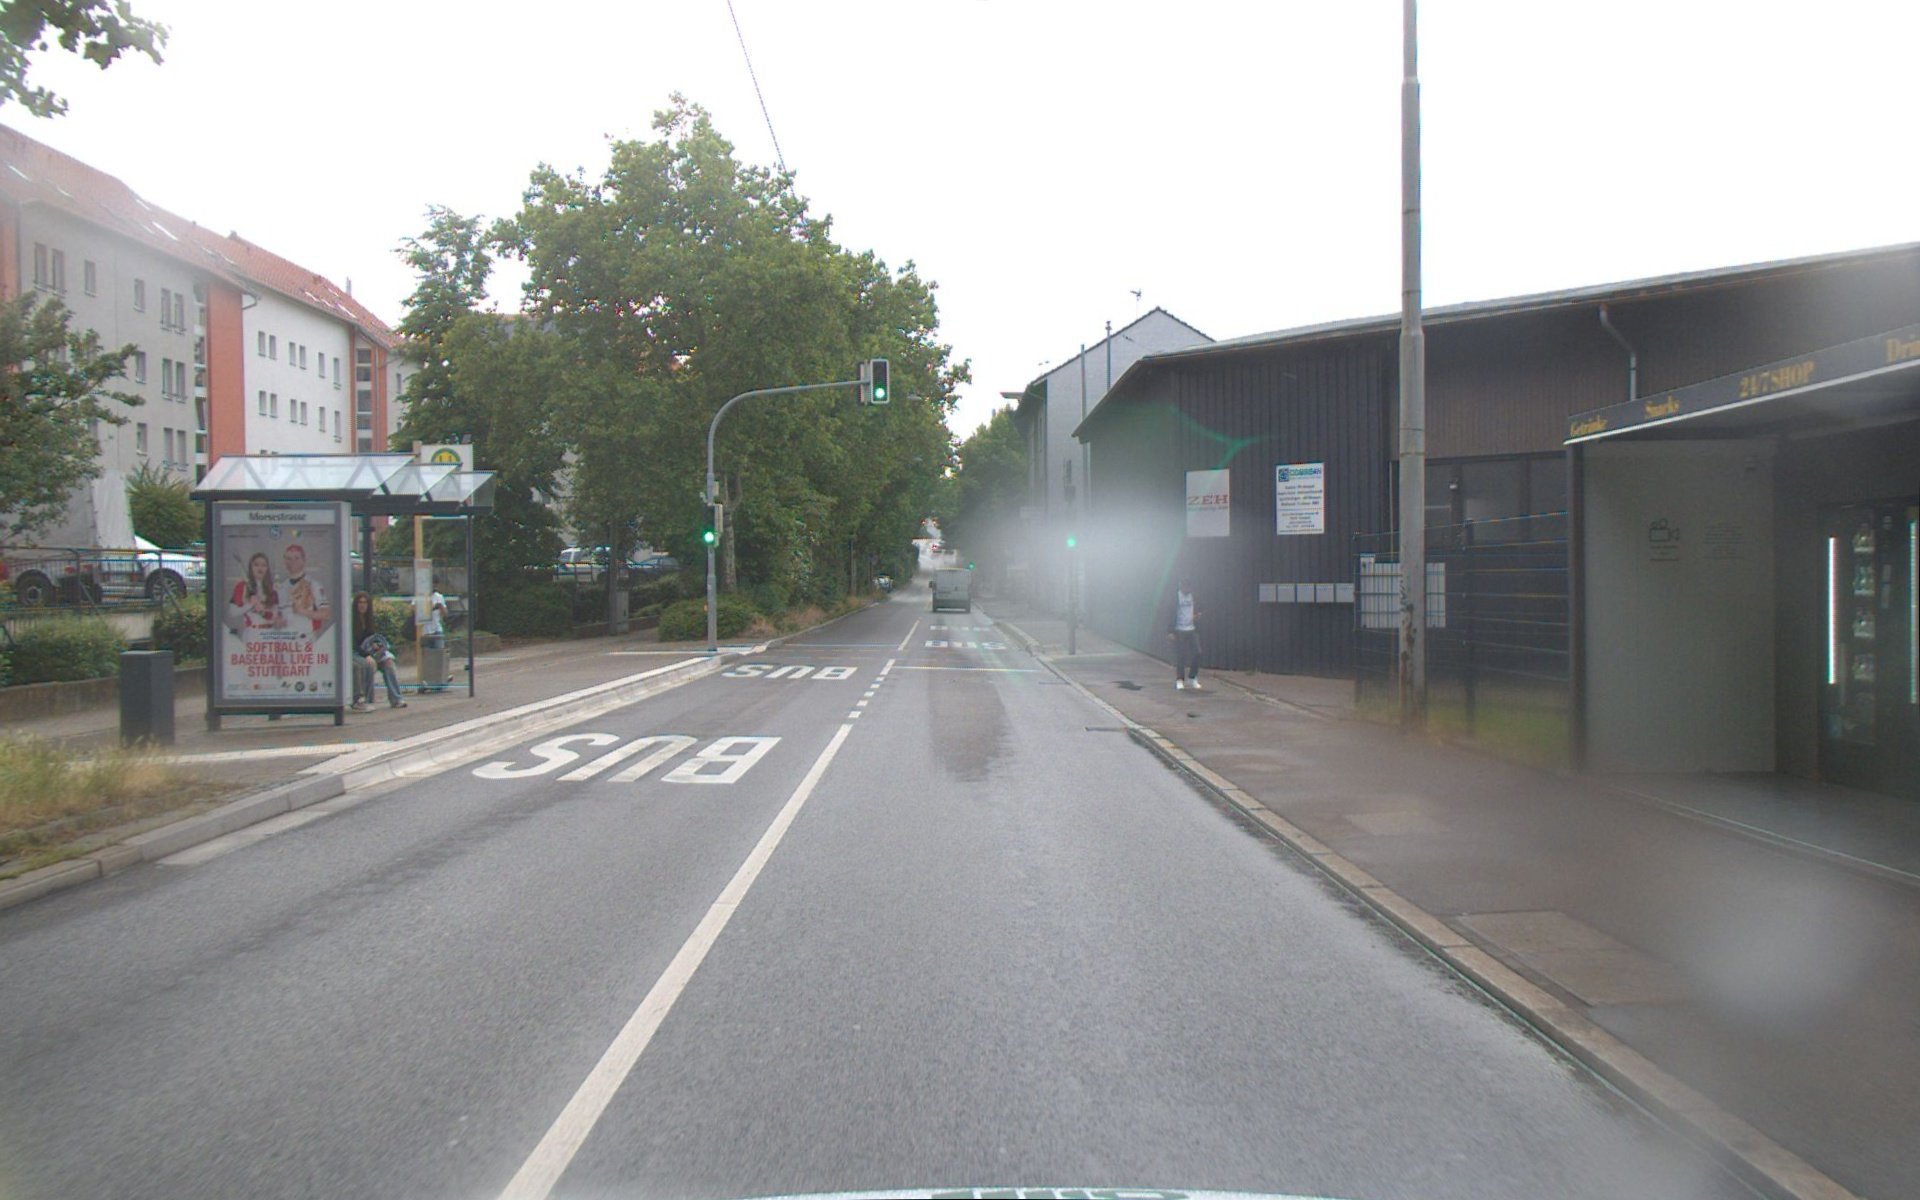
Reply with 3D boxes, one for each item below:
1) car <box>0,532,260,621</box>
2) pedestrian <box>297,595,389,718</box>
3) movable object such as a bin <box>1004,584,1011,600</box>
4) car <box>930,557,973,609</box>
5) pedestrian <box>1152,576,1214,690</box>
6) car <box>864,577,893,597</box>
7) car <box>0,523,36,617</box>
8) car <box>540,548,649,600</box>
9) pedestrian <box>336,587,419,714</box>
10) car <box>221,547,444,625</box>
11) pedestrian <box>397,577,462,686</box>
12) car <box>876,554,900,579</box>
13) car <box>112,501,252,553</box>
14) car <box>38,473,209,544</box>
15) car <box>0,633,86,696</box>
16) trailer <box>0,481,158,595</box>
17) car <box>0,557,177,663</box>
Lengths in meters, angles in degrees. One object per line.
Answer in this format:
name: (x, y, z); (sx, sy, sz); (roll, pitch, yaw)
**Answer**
car: (-15.220, -0.409, 29.931); (4.267, 1.449, 1.859); (1, -1, -1)
pedestrian: (-6.986, 0.638, 18.745); (0.759, 1.340, 0.641); (-2, -1, 3)
movable object such as a bin: (3.449, -0.565, 118.988); (0.392, 1.085, 0.358); (-3, -1, -7)
car: (-0.453, -0.866, 87.656); (2.236, 2.597, 3.999); (0, -1, 0)
pedestrian: (3.476, 0.514, 25.823); (0.728, 1.734, 0.900); (1, -1, -6)
car: (-7.298, -1.123, 148.111); (2.170, 1.620, 4.610); (1, -1, 2)
car: (-15.532, -0.475, 23.254); (4.005, 1.325, 1.809); (1, -1, -1)
car: (-14.929, -1.050, 67.750); (4.085, 2.049, 1.718); (1, 0, -3)
pedestrian: (-6.861, 0.589, 19.508); (0.673, 1.443, 0.641); (-3, -2, 3)
car: (-14.777, -0.308, 39.144); (4.453, 1.701, 1.999); (1, -1, -2)
pedestrian: (-8.282, 0.494, 25.837); (0.726, 1.626, 0.606); (-4, -2, 3)
car: (-7.566, -3.490, 173.657); (2.170, 2.578, 4.610); (1, 0, 1)
car: (-23.868, -2.228, 50.824); (3.526, 1.418, 1.542); (1, -1, -3)
car: (-22.098, -2.395, 43.848); (3.750, 1.630, 1.710); (2, -1, -18)
car: (-24.523, 1.613, 41.950); (3.733, 1.538, 1.717); (1, -1, -3)
trailer: (-14.091, -0.942, 25.536); (2.649, 1.674, 1.480); (1, 0, 0)
car: (-15.427, 0.152, 28.063); (3.438, 1.727, 1.705); (0, 0, -1)
